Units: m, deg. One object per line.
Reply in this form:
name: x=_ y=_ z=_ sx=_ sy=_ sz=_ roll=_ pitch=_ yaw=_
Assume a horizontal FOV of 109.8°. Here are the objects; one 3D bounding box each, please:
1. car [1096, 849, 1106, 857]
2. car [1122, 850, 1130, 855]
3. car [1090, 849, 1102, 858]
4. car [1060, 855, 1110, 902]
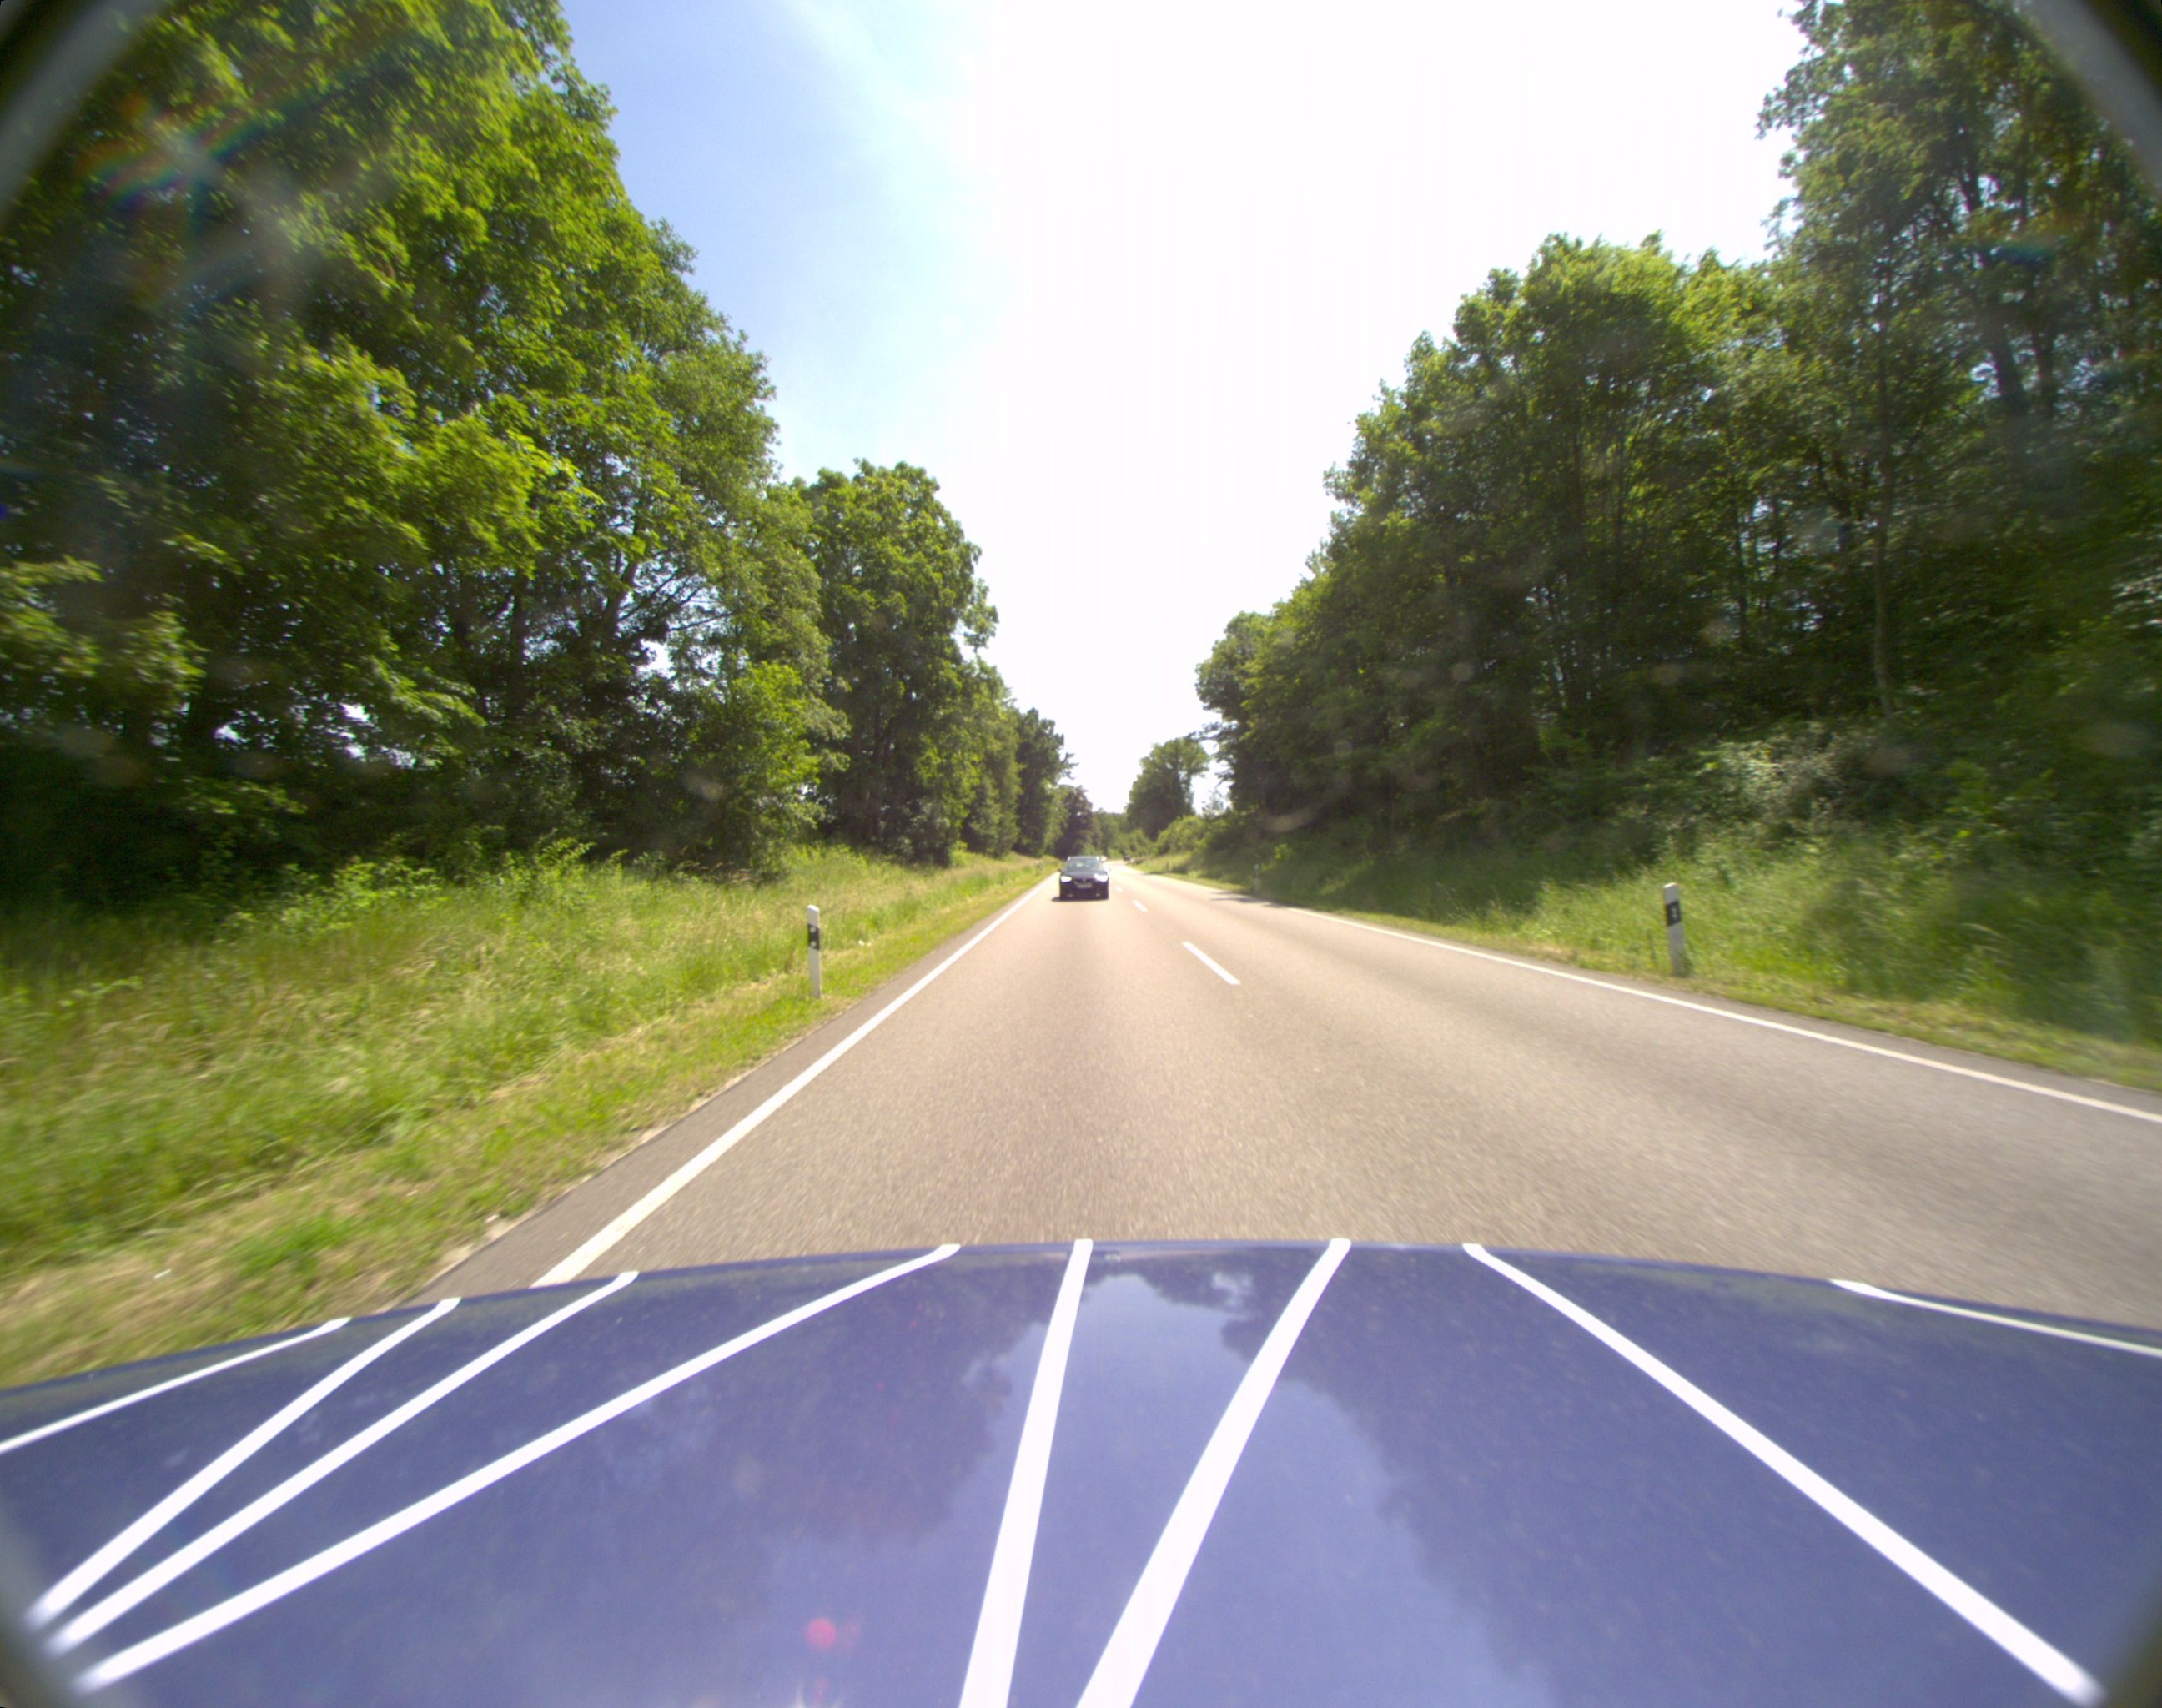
car: x=4.429 y=-0.195 z=166.108 sx=1.811 sy=1.580 sz=4.002 roll=0 pitch=0 yaw=6
car: x=12.197 y=-0.388 z=205.194 sx=1.775 sy=1.561 sz=4.221 roll=0 pitch=0 yaw=9
car: x=2.592 y=-0.136 z=131.329 sx=1.811 sy=1.580 sz=4.001 roll=0 pitch=0 yaw=3
car: x=0.144 y=0.840 z=27.774 sx=1.662 sy=1.531 sz=3.486 roll=-1 pitch=0 yaw=0
